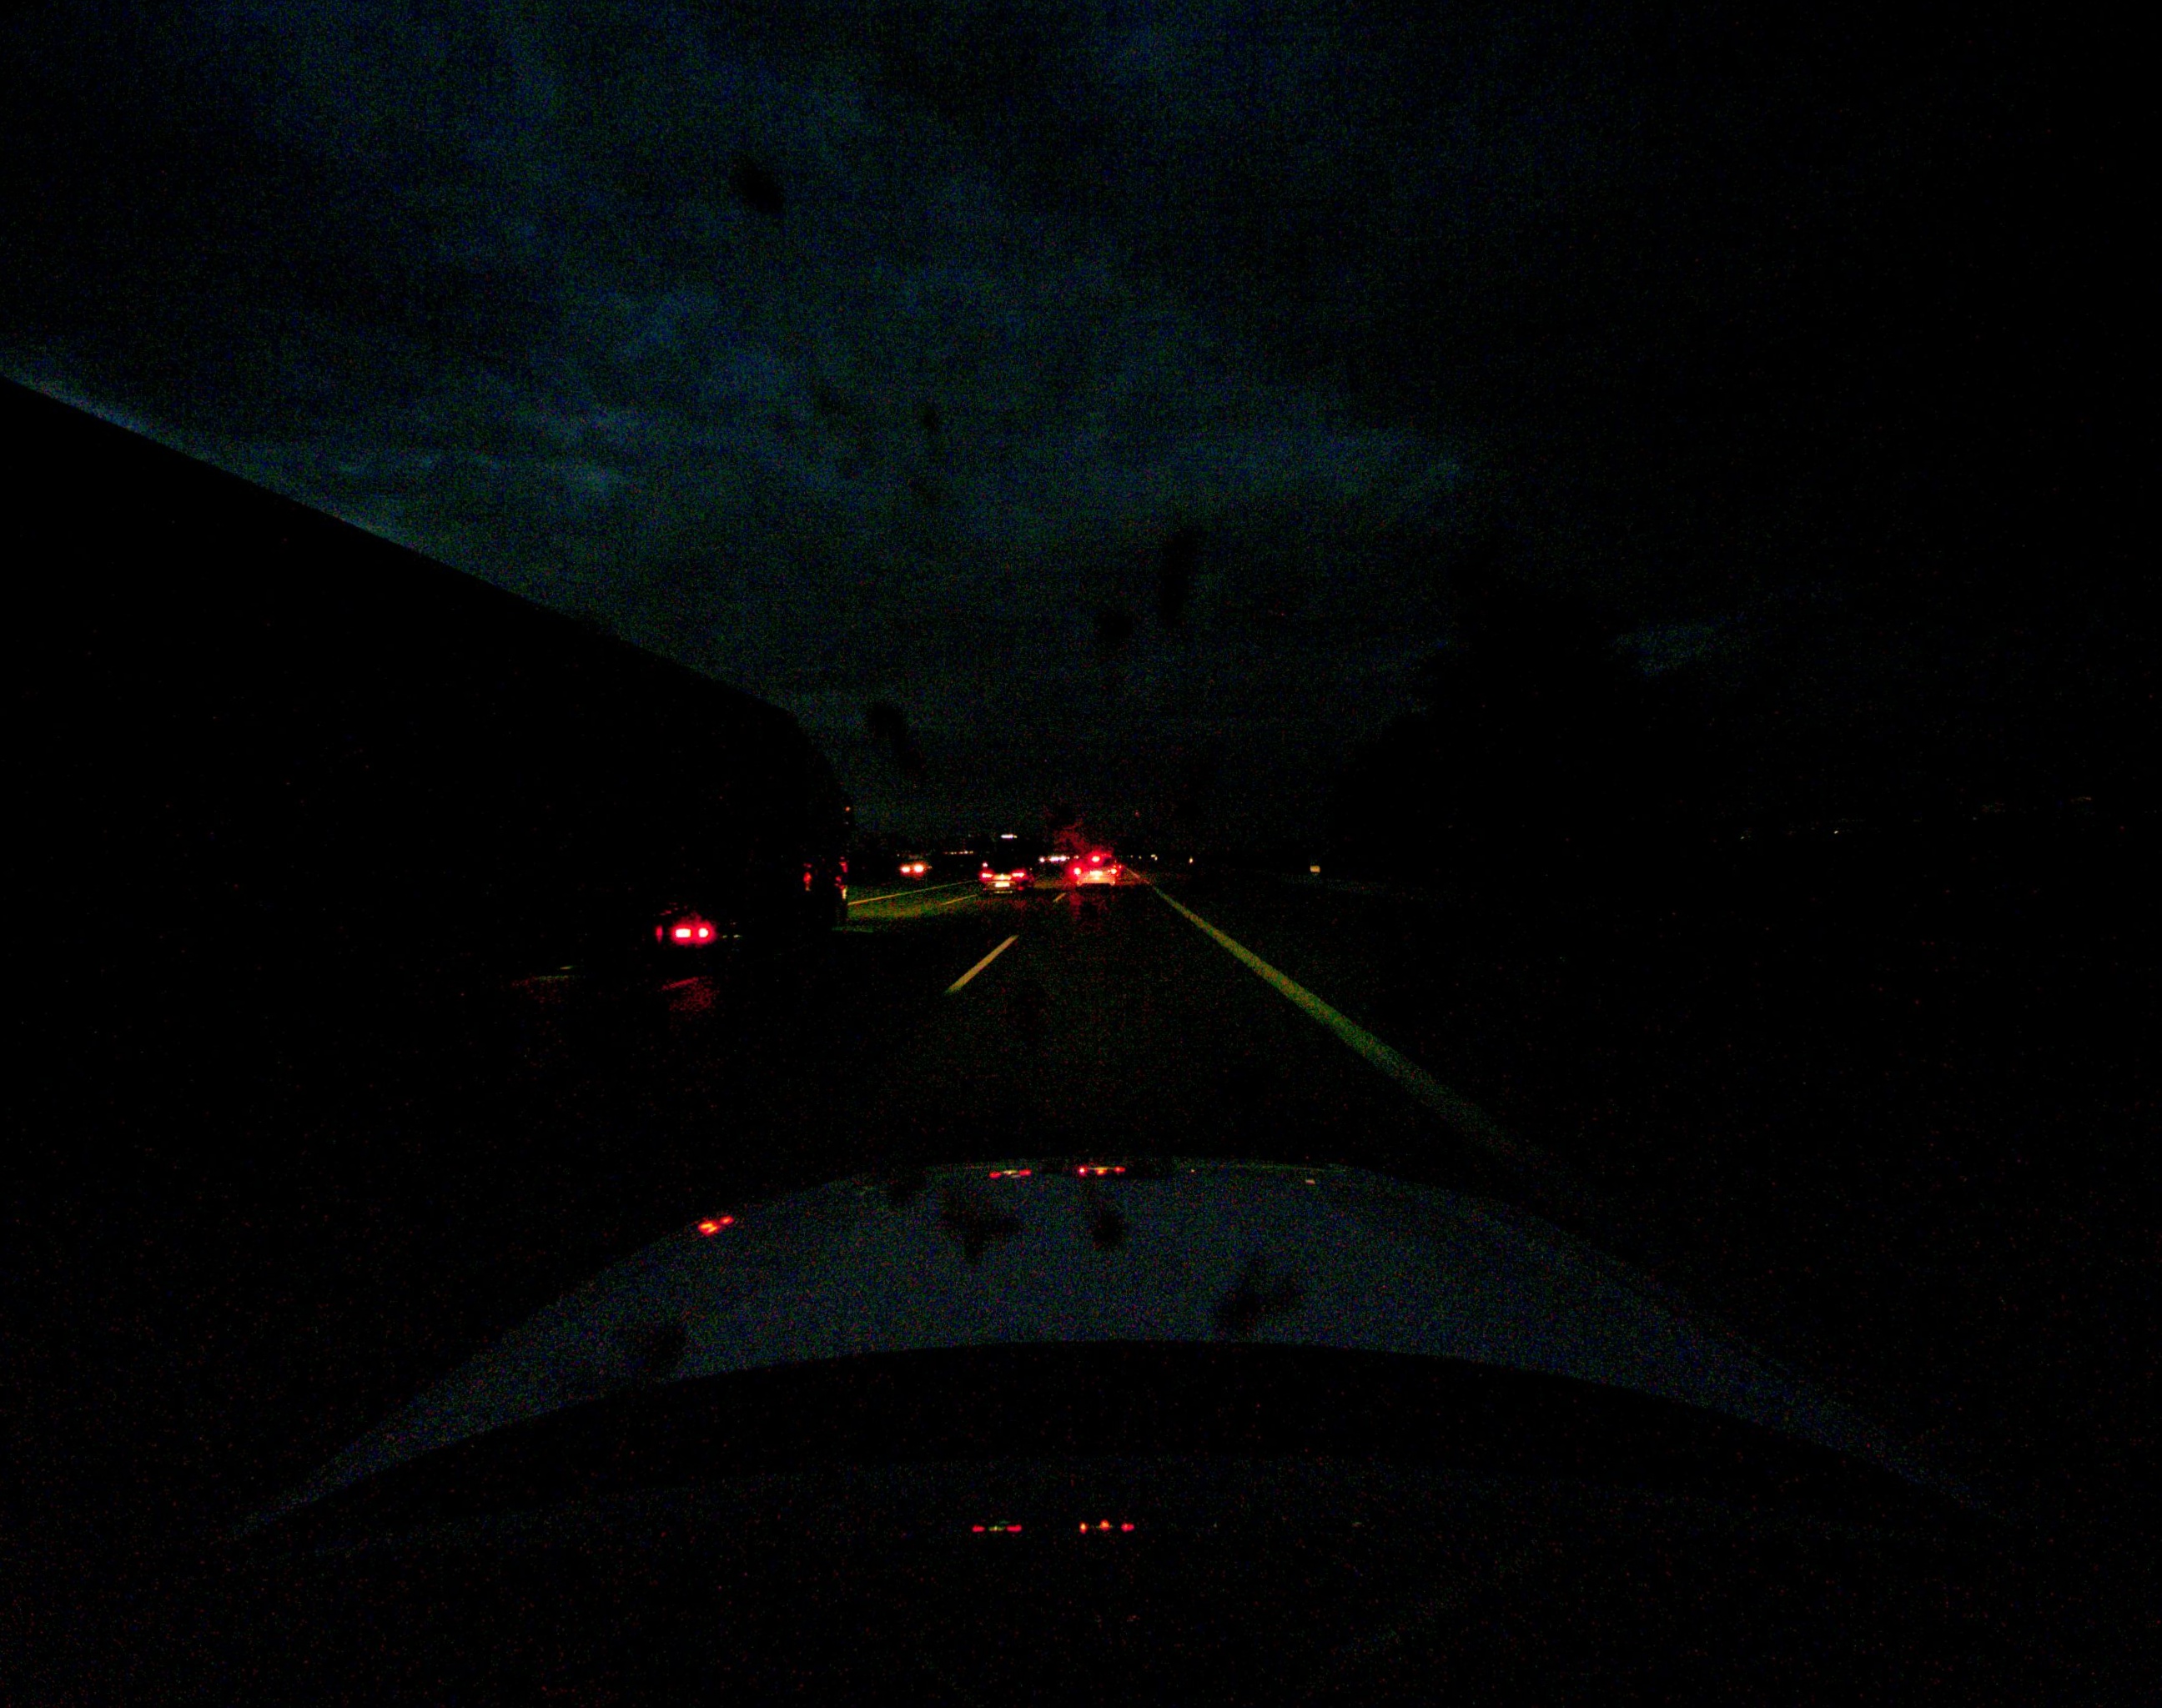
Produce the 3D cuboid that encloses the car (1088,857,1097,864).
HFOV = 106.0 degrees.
[{"bbox_3d":[2.959,1.653,205.970,2.191,1.879,4.001,0,-1,2],"label":"car"}]

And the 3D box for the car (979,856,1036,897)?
[{"bbox_3d":[-2.842,0.860,32.404,1.716,1.471,4.727,0,-1,1],"label":"car"}]

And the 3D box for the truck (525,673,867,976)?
[{"bbox_3d":[-6.104,-0.372,14.234,2.766,4.093,6.106,-2,-1,3],"label":"truck"}]

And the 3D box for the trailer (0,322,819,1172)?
[{"bbox_3d":[-6.416,-0.455,7.215,2.783,4.085,14.534,-2,-1,3],"label":"trailer"}]

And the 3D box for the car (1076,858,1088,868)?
[{"bbox_3d":[0.236,1.503,133.531,1.873,1.552,4.000,0,-1,1],"label":"car"}]

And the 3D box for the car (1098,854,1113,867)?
[{"bbox_3d":[3.059,0.837,101.836,1.873,1.552,4.000,0,-1,1],"label":"car"}]

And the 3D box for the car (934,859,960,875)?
[{"bbox_3d":[-13.481,1.317,82.310,1.692,1.617,4.628,0,-1,2],"label":"car"}]

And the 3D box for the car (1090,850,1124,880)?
[{"bbox_3d":[1.500,0.645,46.970,1.873,1.643,4.001,0,-1,2],"label":"car"}]

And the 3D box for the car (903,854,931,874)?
[{"bbox_3d":[-19.756,1.202,98.458,1.986,2.388,5.838,0,-1,2],"label":"car"}]

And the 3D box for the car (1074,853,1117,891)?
[{"bbox_3d":[0.684,0.769,35.462,1.737,1.525,4.416,0,-1,2],"label":"car"}]
